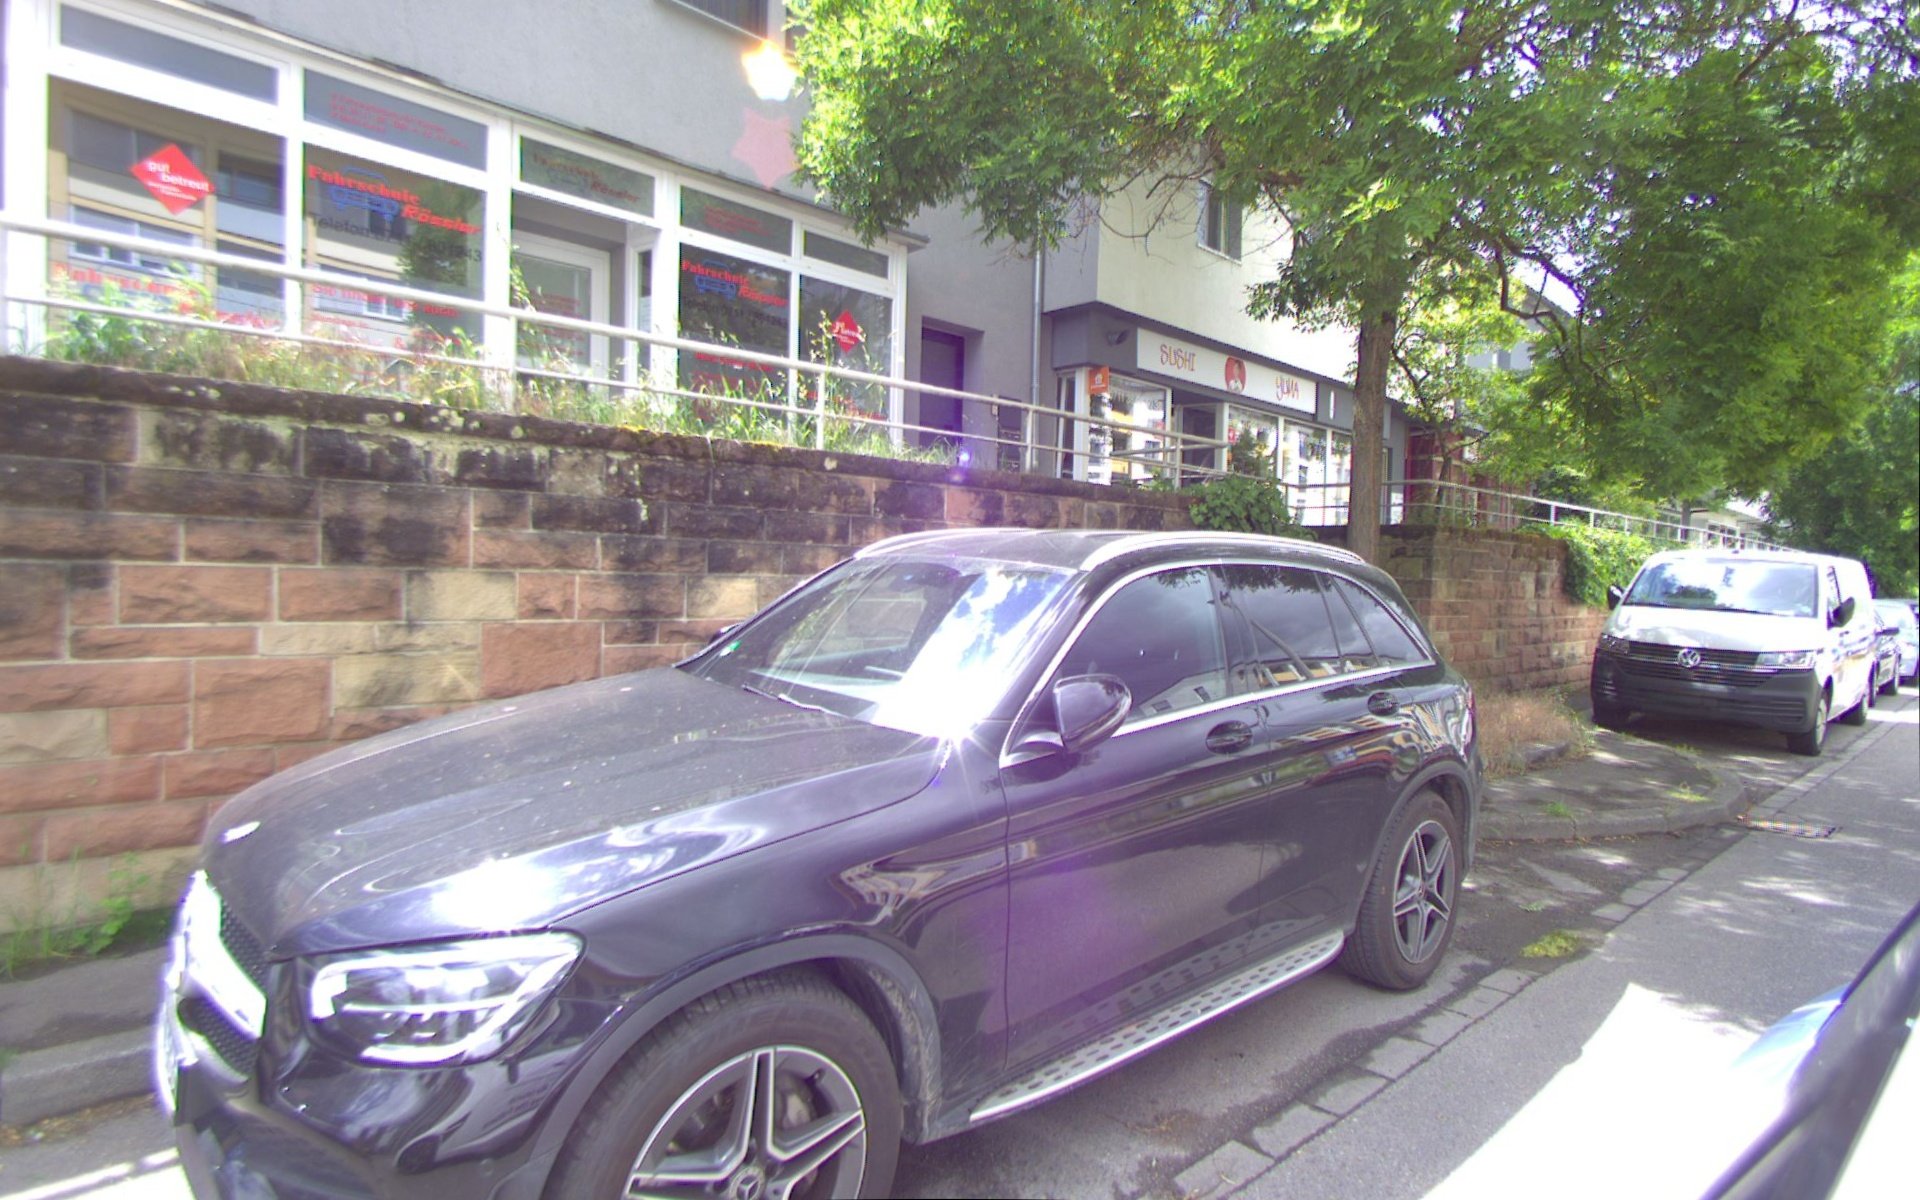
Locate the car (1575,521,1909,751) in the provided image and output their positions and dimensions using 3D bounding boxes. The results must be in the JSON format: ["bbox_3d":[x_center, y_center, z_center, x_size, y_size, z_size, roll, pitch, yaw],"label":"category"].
[{"bbox_3d":[8.767,0.273,11.162,4.926,1.994,1.977,0,2,-41],"label":"car"}]

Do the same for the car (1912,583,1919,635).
[{"bbox_3d":[32.852,0.309,33.407,4.078,1.674,1.816,0,2,-44],"label":"car"}]

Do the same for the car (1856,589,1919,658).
[{"bbox_3d":[21.832,0.503,22.925,4.075,1.446,1.783,0,2,-41],"label":"car"}]

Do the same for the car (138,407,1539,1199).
[{"bbox_3d":[0.113,0.514,3.373,4.371,1.637,1.793,0,4,-42],"label":"car"}]

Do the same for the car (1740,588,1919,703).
[{"bbox_3d":[12.919,0.575,14.906,3.670,1.446,1.577,0,2,-41],"label":"car"}]

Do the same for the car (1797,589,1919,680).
[{"bbox_3d":[16.686,0.549,18.398,4.076,1.446,1.782,0,2,-44],"label":"car"}]
